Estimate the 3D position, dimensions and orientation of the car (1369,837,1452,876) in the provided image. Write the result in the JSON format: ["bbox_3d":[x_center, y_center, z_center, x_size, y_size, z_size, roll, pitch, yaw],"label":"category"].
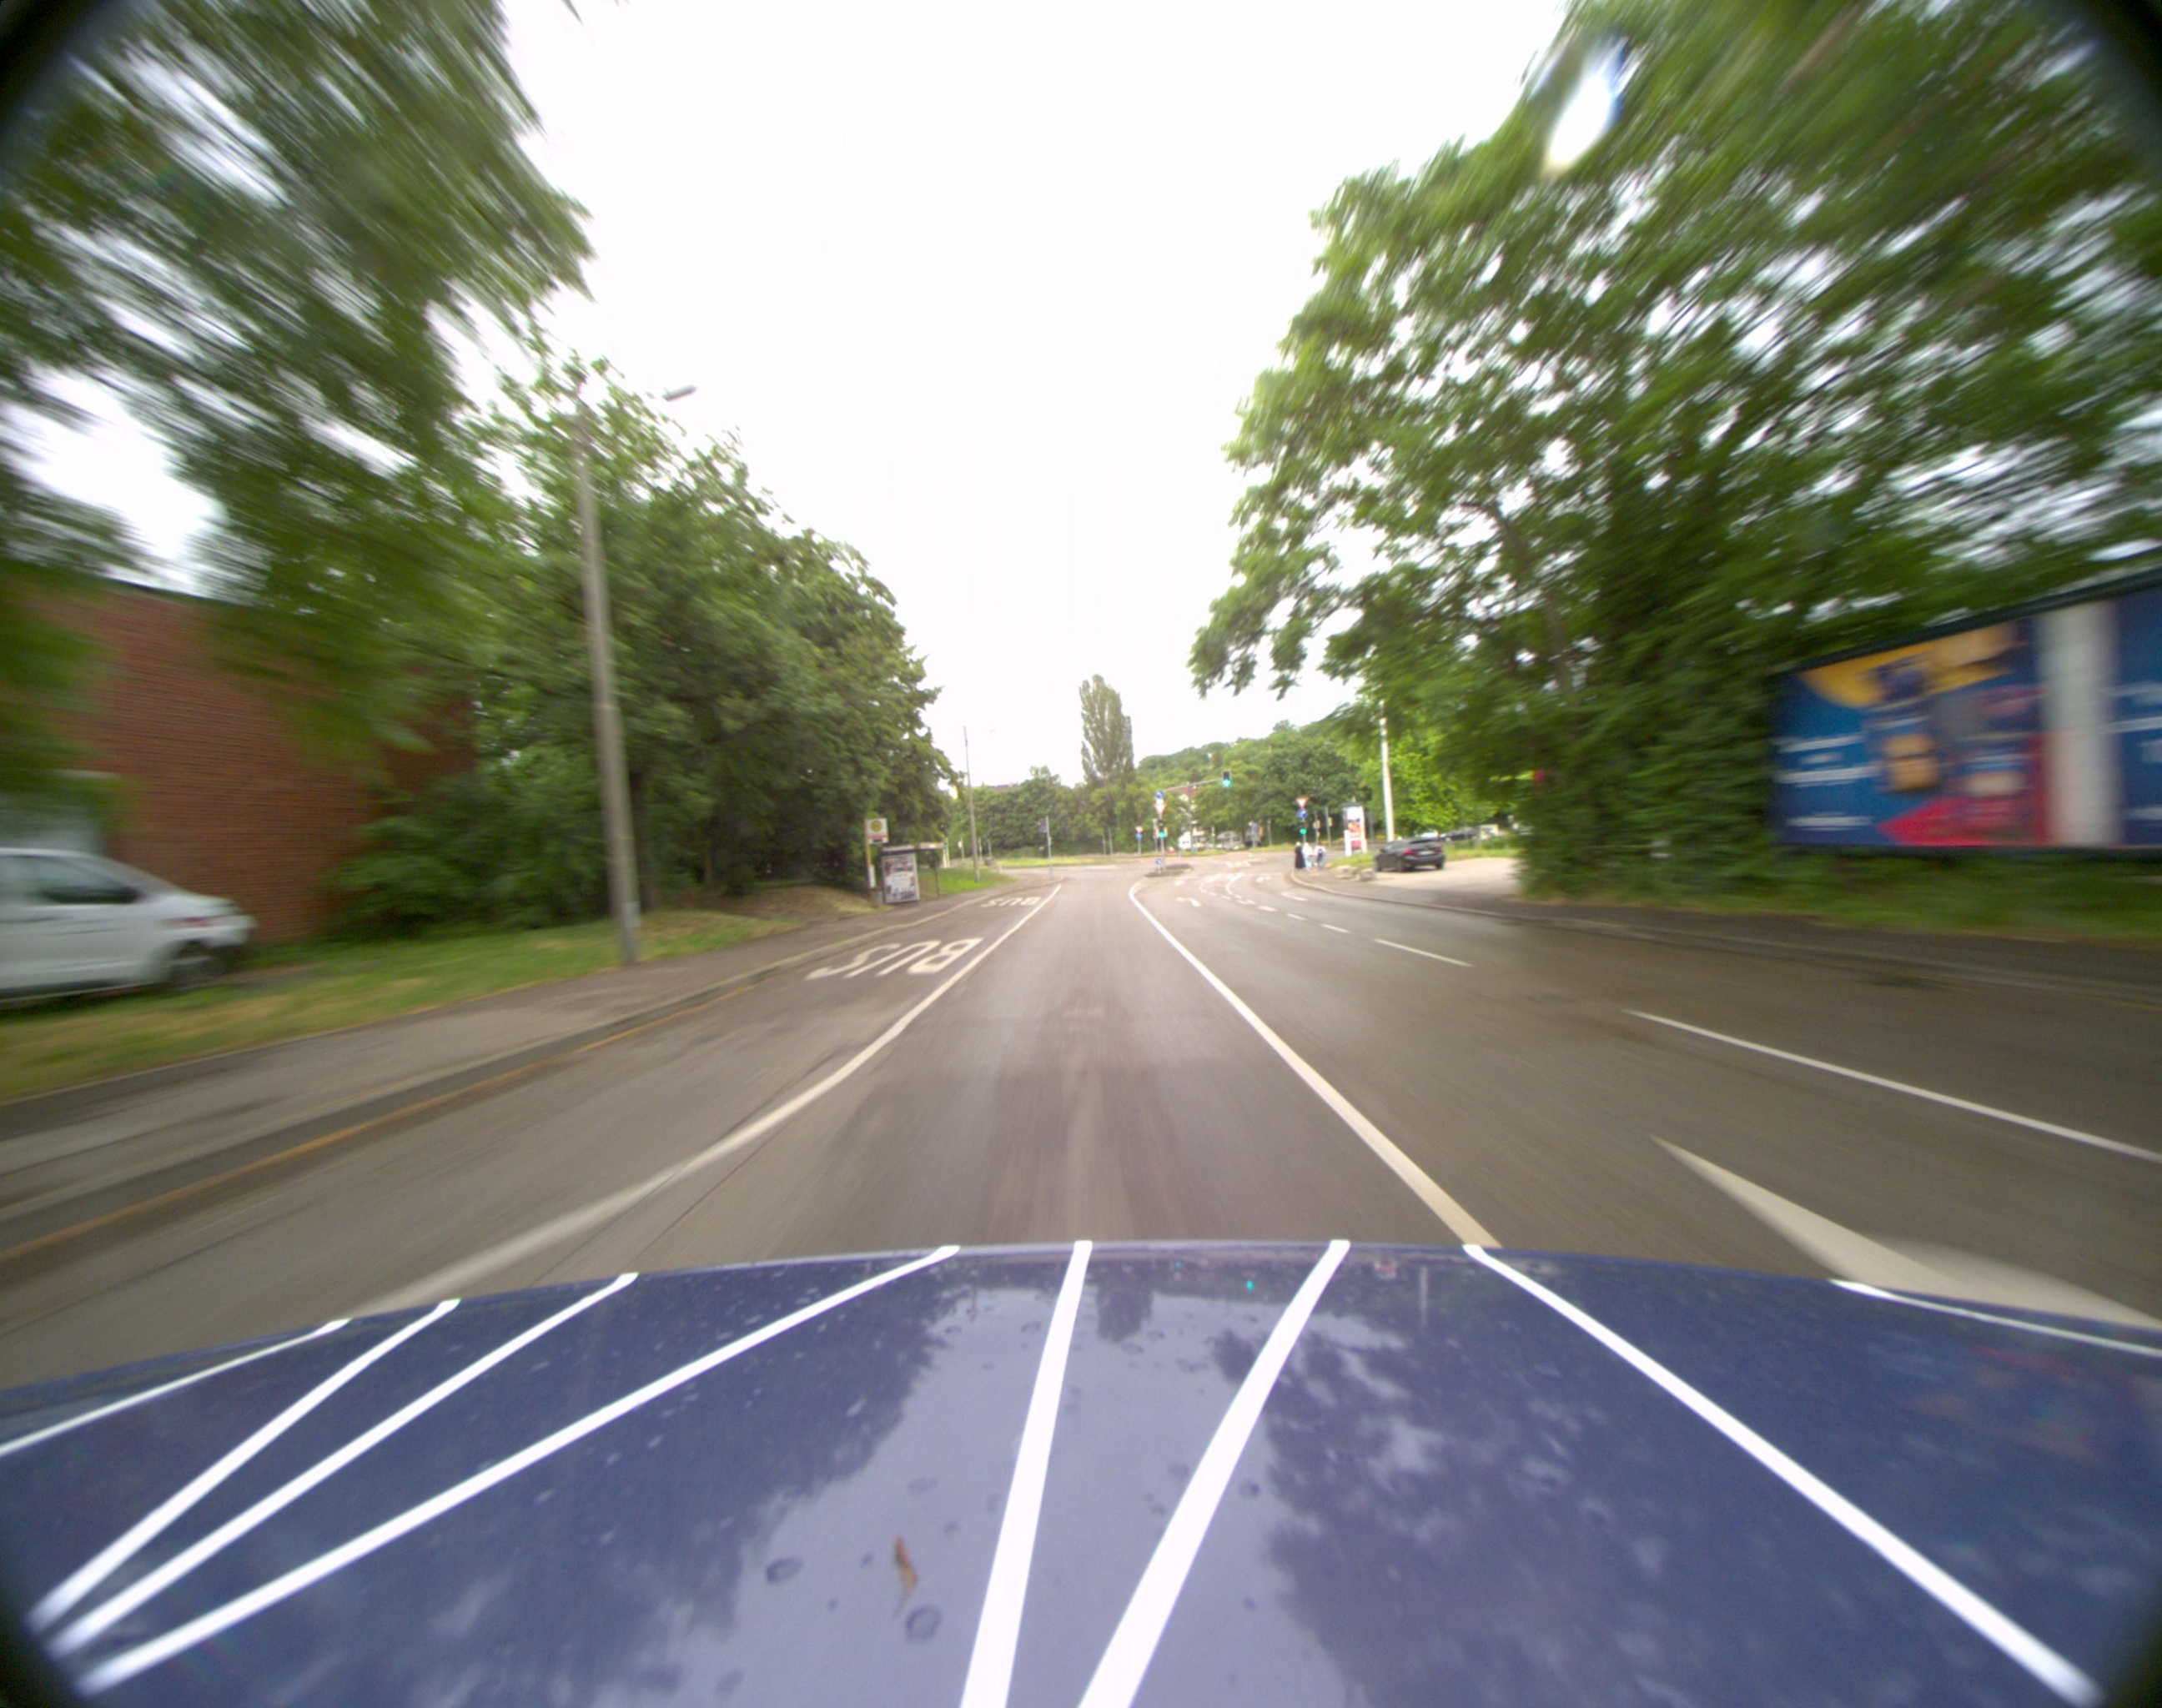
[{"bbox_3d":[14.106,0.088,32.817,1.751,1.440,4.235,-6,0,2],"label":"car"}]

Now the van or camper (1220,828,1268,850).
[{"bbox_3d":[23.457,-2.126,109.686,6.424,2.739,2.431,-3,1,6],"label":"van or camper"}]

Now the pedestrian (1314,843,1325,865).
[{"bbox_3d":[16.703,0.008,53.169,0.592,1.522,0.669,-5,0,16],"label":"pedestrian"}]

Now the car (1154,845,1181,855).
[{"bbox_3d":[13.012,-0.614,114.386,3.996,1.346,1.678,-3,1,3],"label":"car"}]

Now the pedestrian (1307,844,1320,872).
[{"bbox_3d":[13.540,0.226,44.244,0.606,1.592,0.678,-5,0,15],"label":"pedestrian"}]

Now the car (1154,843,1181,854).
[{"bbox_3d":[13.225,-0.838,116.290,3.996,1.539,1.678,-3,1,3],"label":"car"}]

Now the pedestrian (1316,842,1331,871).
[{"bbox_3d":[14.023,0.133,43.942,0.657,1.592,0.678,-5,0,15],"label":"pedestrian"}]

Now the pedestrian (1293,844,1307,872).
[{"bbox_3d":[13.013,0.235,45.104,0.657,1.592,0.678,-5,0,15],"label":"pedestrian"}]

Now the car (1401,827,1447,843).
[{"bbox_3d":[37.534,-2.071,83.286,4.195,1.440,1.890,-4,1,9],"label":"car"}]

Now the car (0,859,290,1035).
[{"bbox_3d":[-12.088,1.051,7.899,1.998,1.794,5.148,-5,0,4],"label":"car"}]

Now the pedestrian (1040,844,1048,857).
[{"bbox_3d":[-4.594,-0.418,94.927,0.682,1.597,0.810,-5,0,10],"label":"pedestrian"}]
